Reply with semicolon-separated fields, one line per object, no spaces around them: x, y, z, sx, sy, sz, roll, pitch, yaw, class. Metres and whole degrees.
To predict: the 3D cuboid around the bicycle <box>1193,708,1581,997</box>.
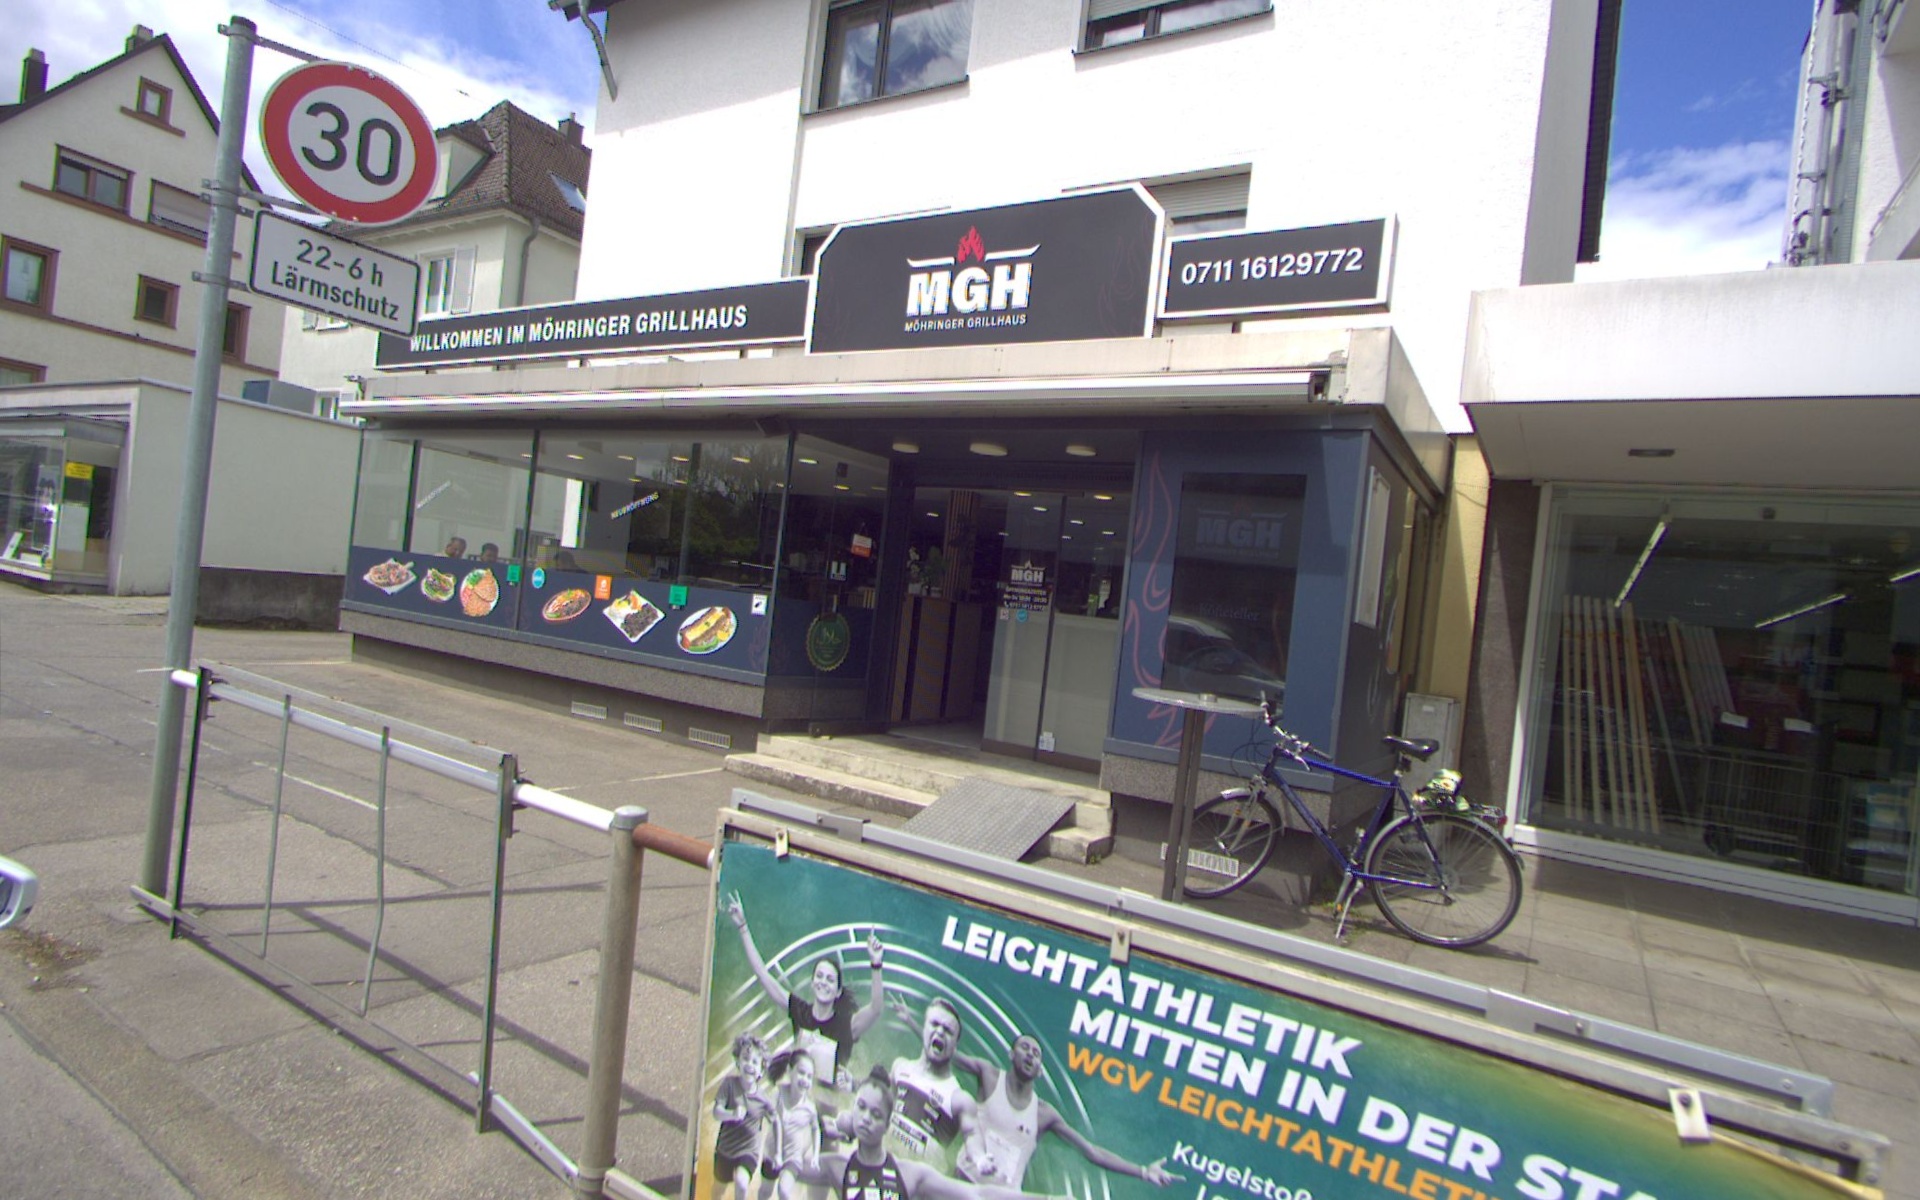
2.071;1.190;5.034;1.606;1.041;0.476;7;1;23;bicycle

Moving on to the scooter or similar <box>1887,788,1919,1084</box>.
4.365;1.326;3.664;1.163;1.283;0.689;6;1;20;scooter or similar
